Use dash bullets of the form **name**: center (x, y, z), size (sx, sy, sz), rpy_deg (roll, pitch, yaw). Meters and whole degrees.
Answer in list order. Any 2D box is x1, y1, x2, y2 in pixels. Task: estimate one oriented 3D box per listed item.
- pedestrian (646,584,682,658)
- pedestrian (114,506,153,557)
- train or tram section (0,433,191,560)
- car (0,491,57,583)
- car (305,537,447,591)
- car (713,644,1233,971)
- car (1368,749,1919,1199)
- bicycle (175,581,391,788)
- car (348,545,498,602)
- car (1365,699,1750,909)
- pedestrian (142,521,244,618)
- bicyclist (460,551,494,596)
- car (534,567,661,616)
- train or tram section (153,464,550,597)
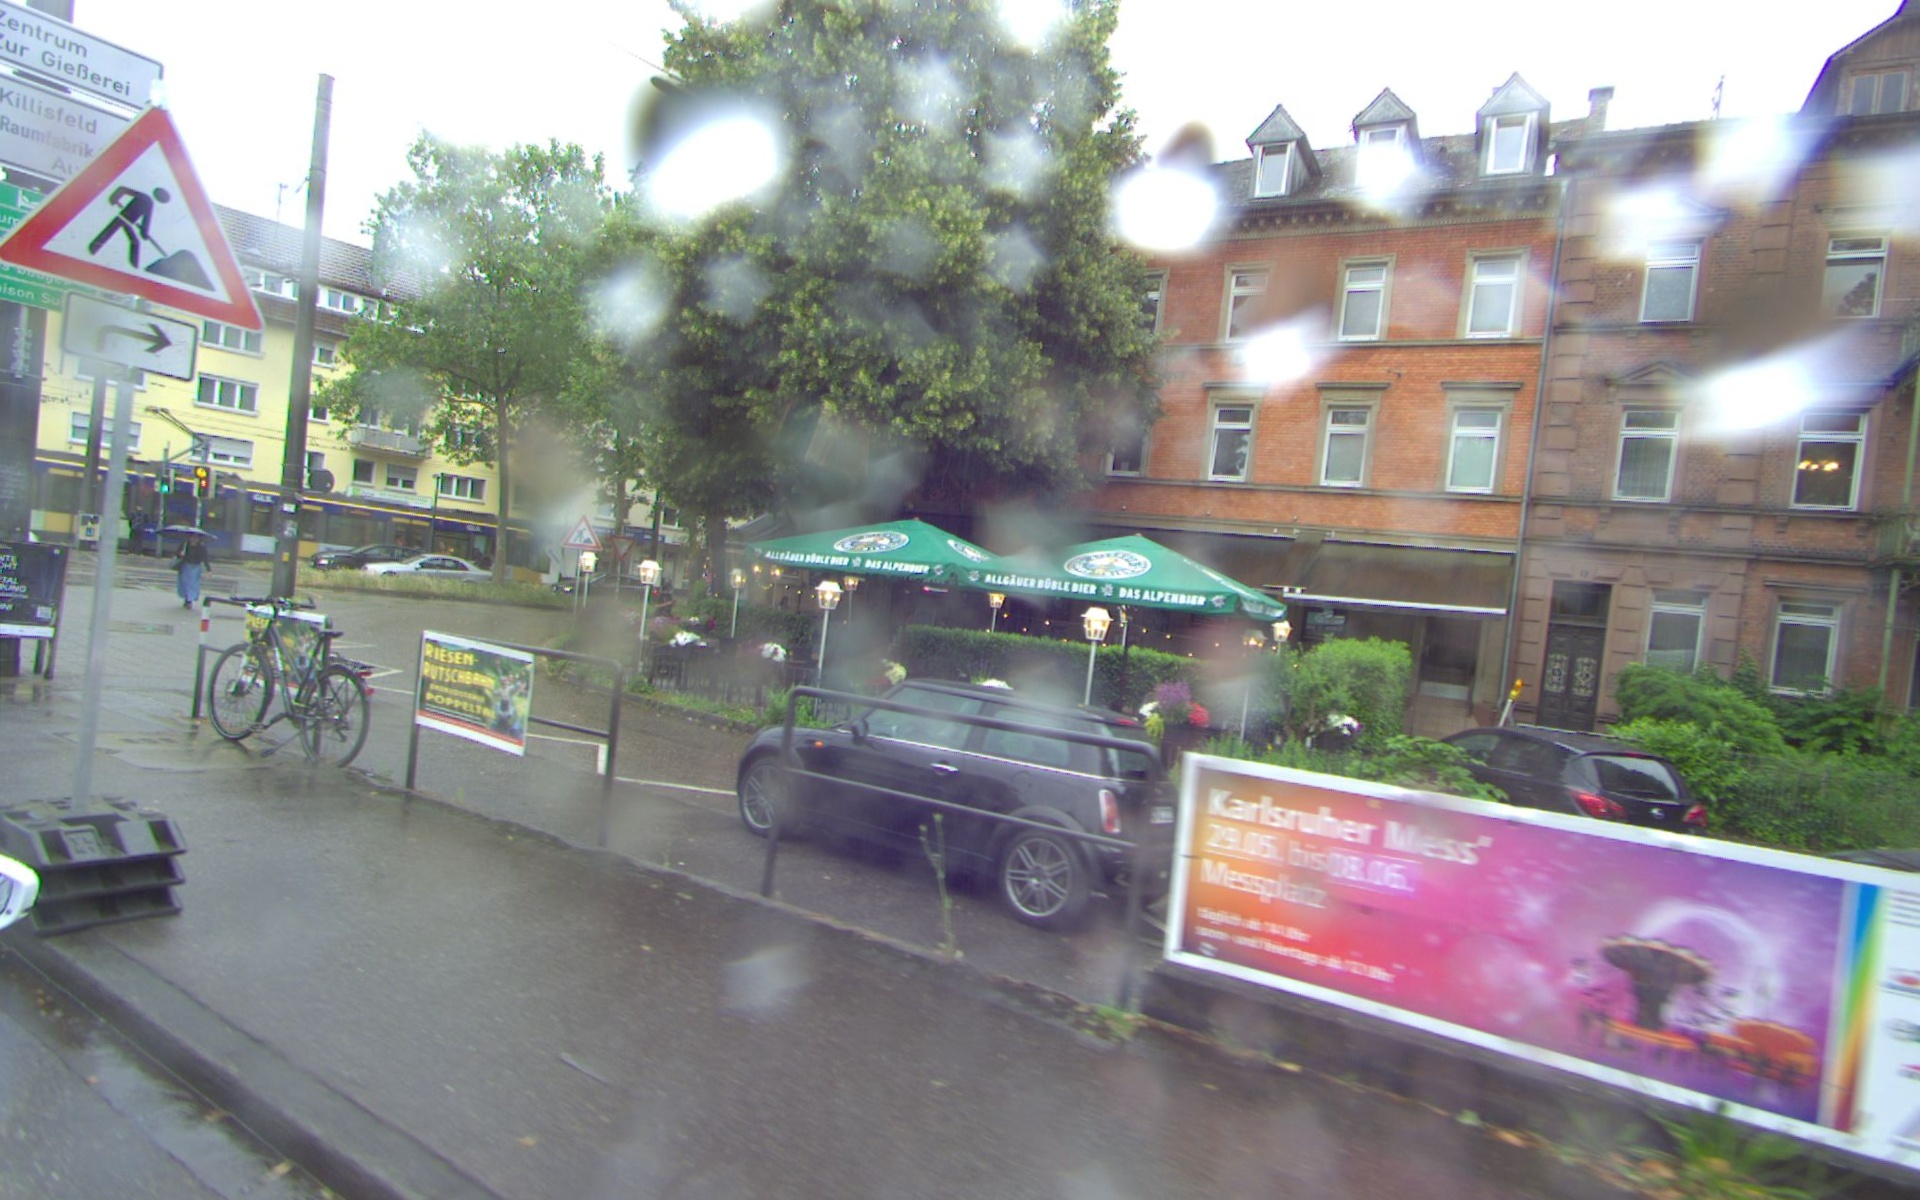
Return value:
- **pedestrian**: center (-6.879, 0.484, 23.362), size (0.382, 1.667, 0.549), rpy_deg (7, 3, 33)
- **pedestrian**: center (-29.336, -2.421, 35.713), size (0.806, 1.698, 1.008), rpy_deg (6, 1, -32)
- **train or tram section**: center (-33.508, -3.924, 32.095), size (3.059, 3.601, 14.578), rpy_deg (7, -1, 21)
- **car**: center (-20.226, -1.406, 19.480), size (1.877, 1.818, 4.109), rpy_deg (8, -1, -7)
- **car**: center (-22.300, -1.342, 38.517), size (1.853, 1.520, 4.264), rpy_deg (7, 0, 40)
- **car**: center (0.027, 1.356, 7.630), size (3.460, 1.517, 1.649), rpy_deg (7, -1, 34)
- **car**: center (4.362, 1.858, 4.775), size (4.146, 1.481, 1.749), rpy_deg (7, -1, 32)
- **bicycle**: center (-4.833, 0.561, 7.139), size (1.762, 1.182, 0.423), rpy_deg (7, -1, 30)
- **car**: center (-19.633, -0.939, 36.900), size (1.718, 1.507, 4.473), rpy_deg (8, 1, 45)
- **car**: center (6.767, 2.241, 12.017), size (1.828, 1.526, 3.998), rpy_deg (8, -1, -5)
- **pedestrian**: center (-14.811, -0.574, 19.458), size (1.088, 1.687, 0.995), rpy_deg (7, 0, -13)
- **bicyclist**: center (-19.949, -1.096, 41.543), size (0.704, 1.737, 0.886), rpy_deg (7, 0, 42)
- **car**: center (-15.188, -0.329, 42.291), size (4.611, 1.504, 1.839), rpy_deg (7, 1, -45)
- **train or tram section**: center (-25.938, -2.749, 44.388), size (3.071, 3.601, 14.616), rpy_deg (7, -1, 40)
